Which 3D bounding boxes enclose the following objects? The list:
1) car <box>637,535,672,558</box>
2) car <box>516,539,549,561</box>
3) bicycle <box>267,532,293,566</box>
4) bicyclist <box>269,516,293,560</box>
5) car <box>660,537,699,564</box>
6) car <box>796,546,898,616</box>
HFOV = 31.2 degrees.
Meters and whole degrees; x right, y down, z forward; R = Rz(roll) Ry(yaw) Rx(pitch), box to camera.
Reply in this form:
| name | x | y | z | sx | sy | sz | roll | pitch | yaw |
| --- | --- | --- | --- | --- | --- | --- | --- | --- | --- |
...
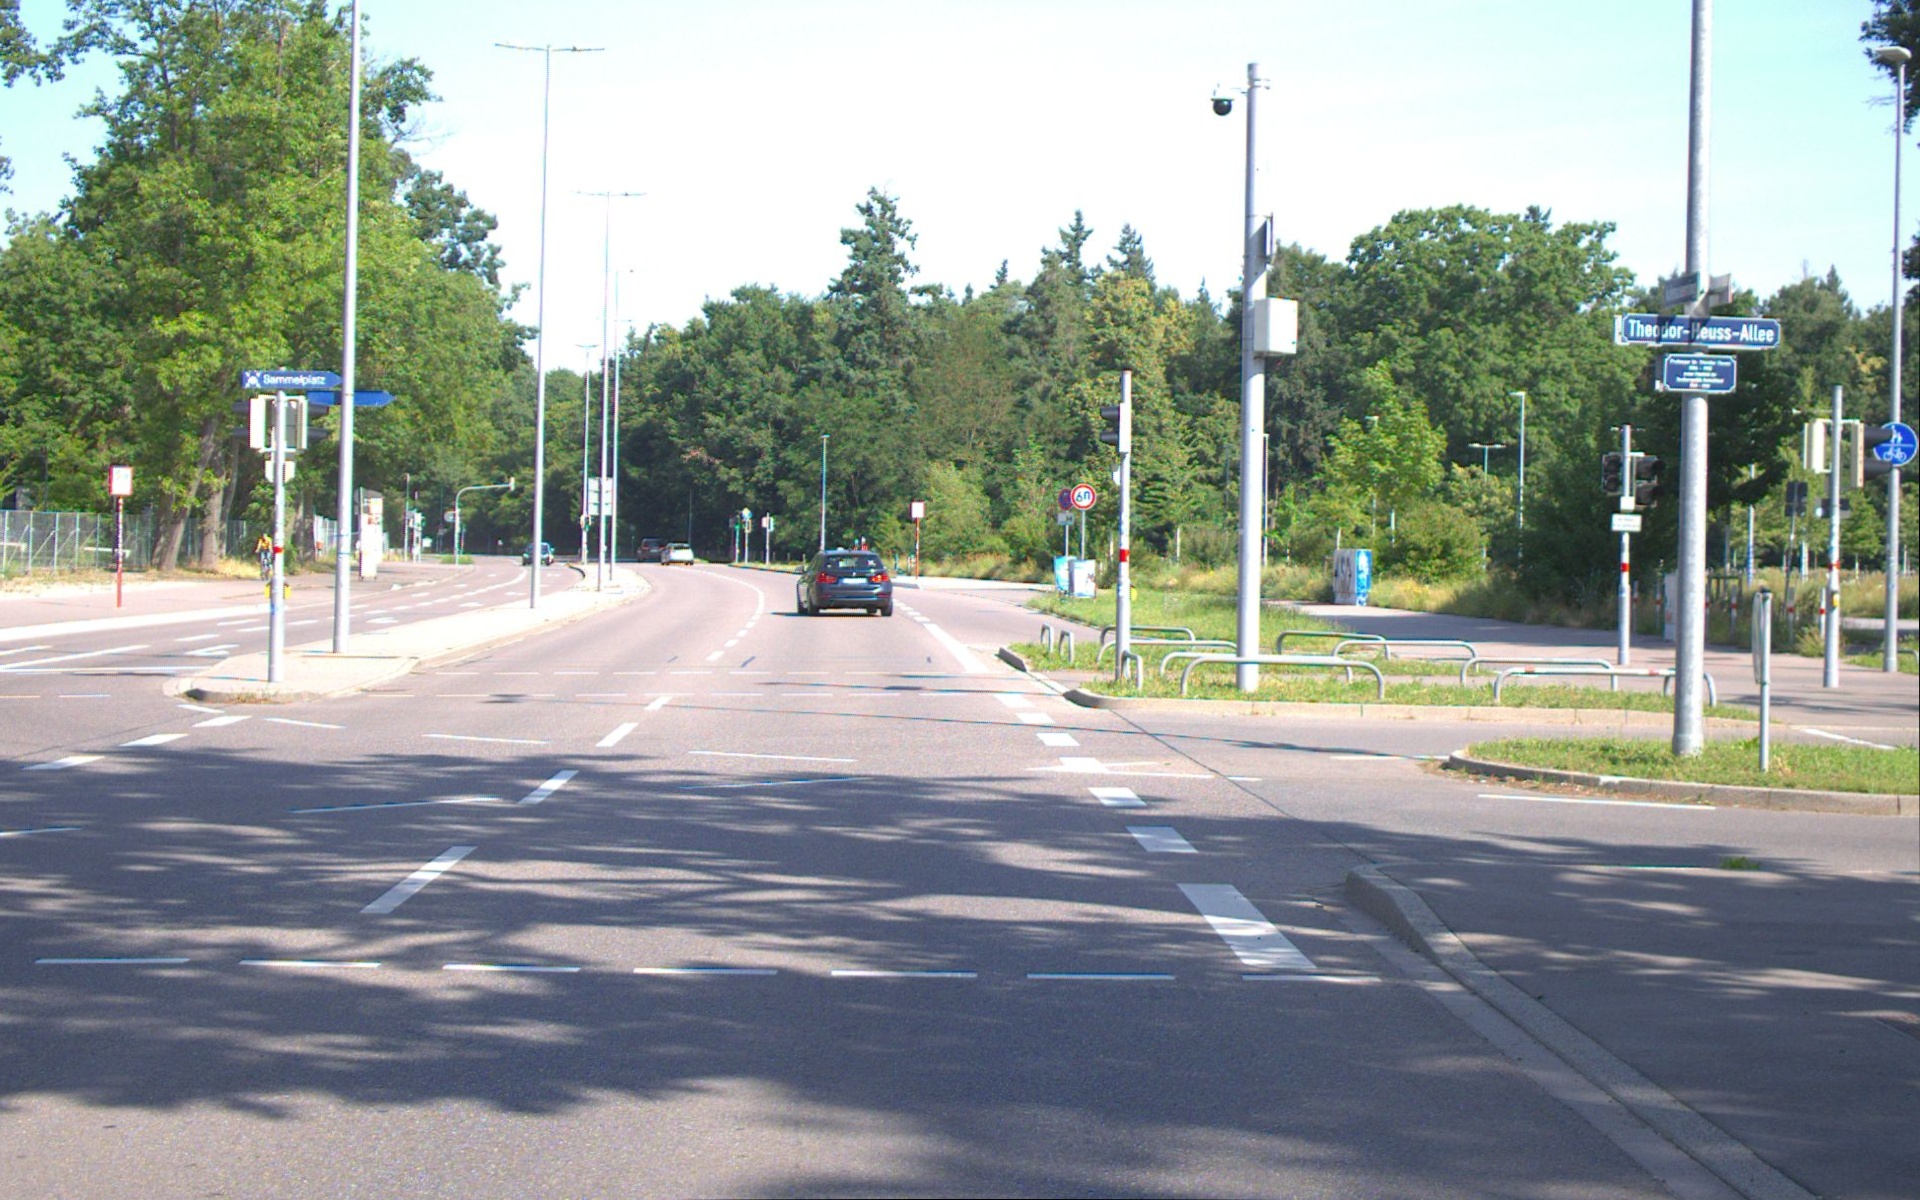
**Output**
| name | x | y | z | sx | sy | sz | roll | pitch | yaw |
| --- | --- | --- | --- | --- | --- | --- | --- | --- | --- |
| car | -22.092 | -3.889 | 248.348 | 1.993 | 1.590 | 4.001 | 1 | 1 | -12 |
| car | -27.953 | -3.254 | 224.947 | 1.810 | 1.383 | 4.163 | -1 | 1 | -11 |
| bicycle | -23.335 | -1.752 | 117.998 | 0.659 | 1.132 | 1.879 | 2 | 1 | -5 |
| bicyclist | -23.293 | -2.125 | 117.946 | 0.659 | 1.462 | 1.057 | 2 | 1 | -5 |
| car | -18.691 | -3.284 | 228.952 | 1.993 | 1.744 | 4.001 | 1 | 1 | -13 |
| car | -2.481 | -0.431 | 74.565 | 1.940 | 1.415 | 4.294 | 1 | 1 | -5 |
